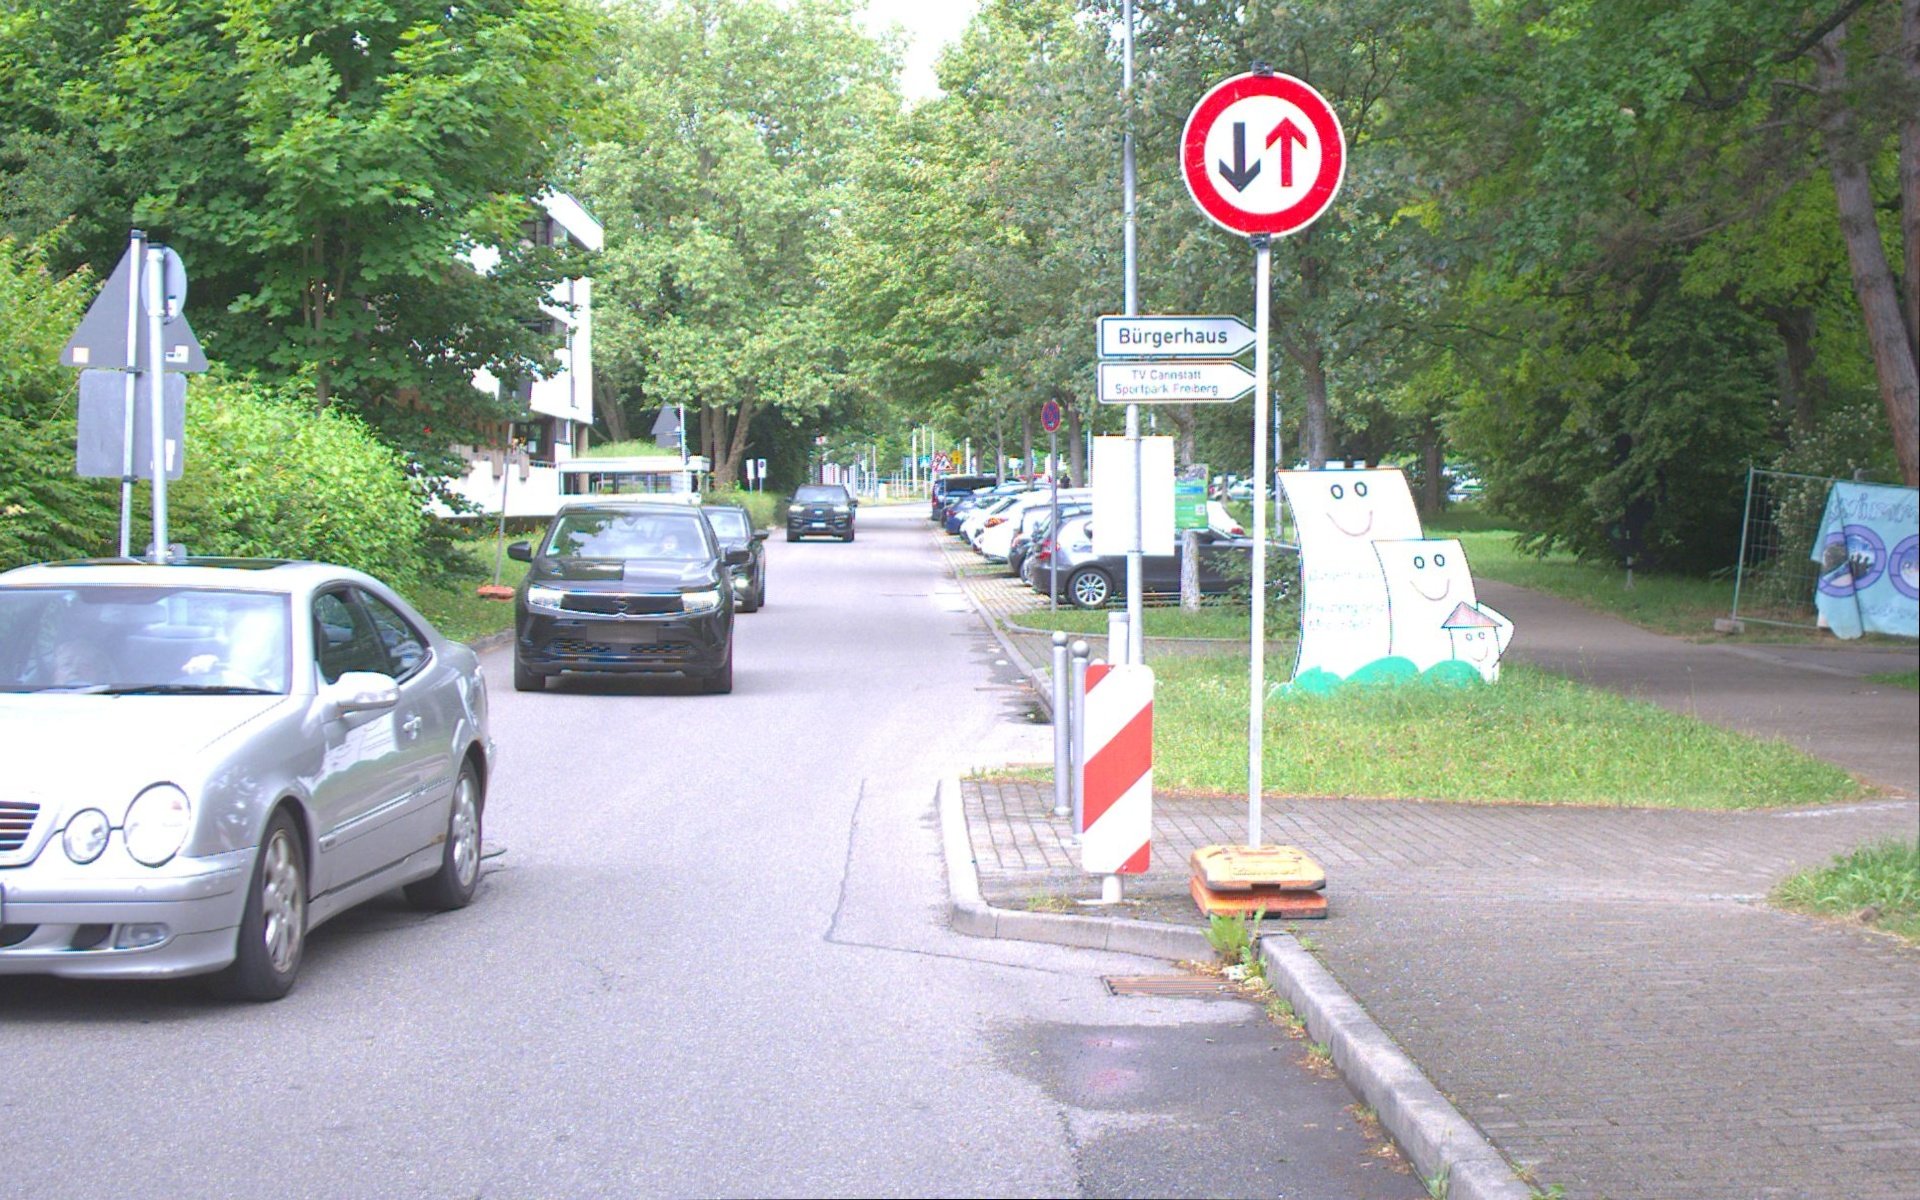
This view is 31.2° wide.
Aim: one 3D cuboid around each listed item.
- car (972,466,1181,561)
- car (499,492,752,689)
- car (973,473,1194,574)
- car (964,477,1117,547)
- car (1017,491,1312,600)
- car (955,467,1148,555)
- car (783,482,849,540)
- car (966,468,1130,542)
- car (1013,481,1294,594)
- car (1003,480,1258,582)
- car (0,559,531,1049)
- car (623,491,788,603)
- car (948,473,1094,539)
[{"bbox_3d":[2.398,-1.804,71.265,4.062,1.681,1.823,-4,2,-4],"label":"car"},{"bbox_3d":[-2.823,-0.141,29.827,1.803,1.586,4.296,0,2,0],"label":"car"},{"bbox_3d":[2.394,-1.503,67.405,4.062,1.681,1.823,-4,2,-4],"label":"car"},{"bbox_3d":[2.255,-2.492,96.758,4.062,1.681,1.823,-4,2,-4],"label":"car"},{"bbox_3d":[2.917,-0.775,49.699,4.062,1.429,2.000,-2,0,-1],"label":"car"},{"bbox_3d":[2.041,-2.013,77.294,4.062,1.681,1.823,-4,2,-4],"label":"car"},{"bbox_3d":[-4.392,-2.736,105.438,1.968,1.741,4.339,0,2,-2],"label":"car"},{"bbox_3d":[2.312,-2.526,90.991,4.062,1.681,1.823,-4,2,-4],"label":"car"},{"bbox_3d":[2.886,-0.927,51.987,4.062,1.563,1.822,-2,0,-1],"label":"car"},{"bbox_3d":[2.807,-1.165,57.263,4.062,1.563,1.823,-2,2,-1],"label":"car"},{"bbox_3d":[-2.778,0.549,11.882,1.781,1.302,4.296,0,2,4],"label":"car"},{"bbox_3d":[-3.724,-0.822,50.964,1.803,1.586,4.296,0,2,5],"label":"car"},{"bbox_3d":[1.788,-2.799,101.899,4.062,1.681,1.823,-4,2,-4],"label":"car"}]
